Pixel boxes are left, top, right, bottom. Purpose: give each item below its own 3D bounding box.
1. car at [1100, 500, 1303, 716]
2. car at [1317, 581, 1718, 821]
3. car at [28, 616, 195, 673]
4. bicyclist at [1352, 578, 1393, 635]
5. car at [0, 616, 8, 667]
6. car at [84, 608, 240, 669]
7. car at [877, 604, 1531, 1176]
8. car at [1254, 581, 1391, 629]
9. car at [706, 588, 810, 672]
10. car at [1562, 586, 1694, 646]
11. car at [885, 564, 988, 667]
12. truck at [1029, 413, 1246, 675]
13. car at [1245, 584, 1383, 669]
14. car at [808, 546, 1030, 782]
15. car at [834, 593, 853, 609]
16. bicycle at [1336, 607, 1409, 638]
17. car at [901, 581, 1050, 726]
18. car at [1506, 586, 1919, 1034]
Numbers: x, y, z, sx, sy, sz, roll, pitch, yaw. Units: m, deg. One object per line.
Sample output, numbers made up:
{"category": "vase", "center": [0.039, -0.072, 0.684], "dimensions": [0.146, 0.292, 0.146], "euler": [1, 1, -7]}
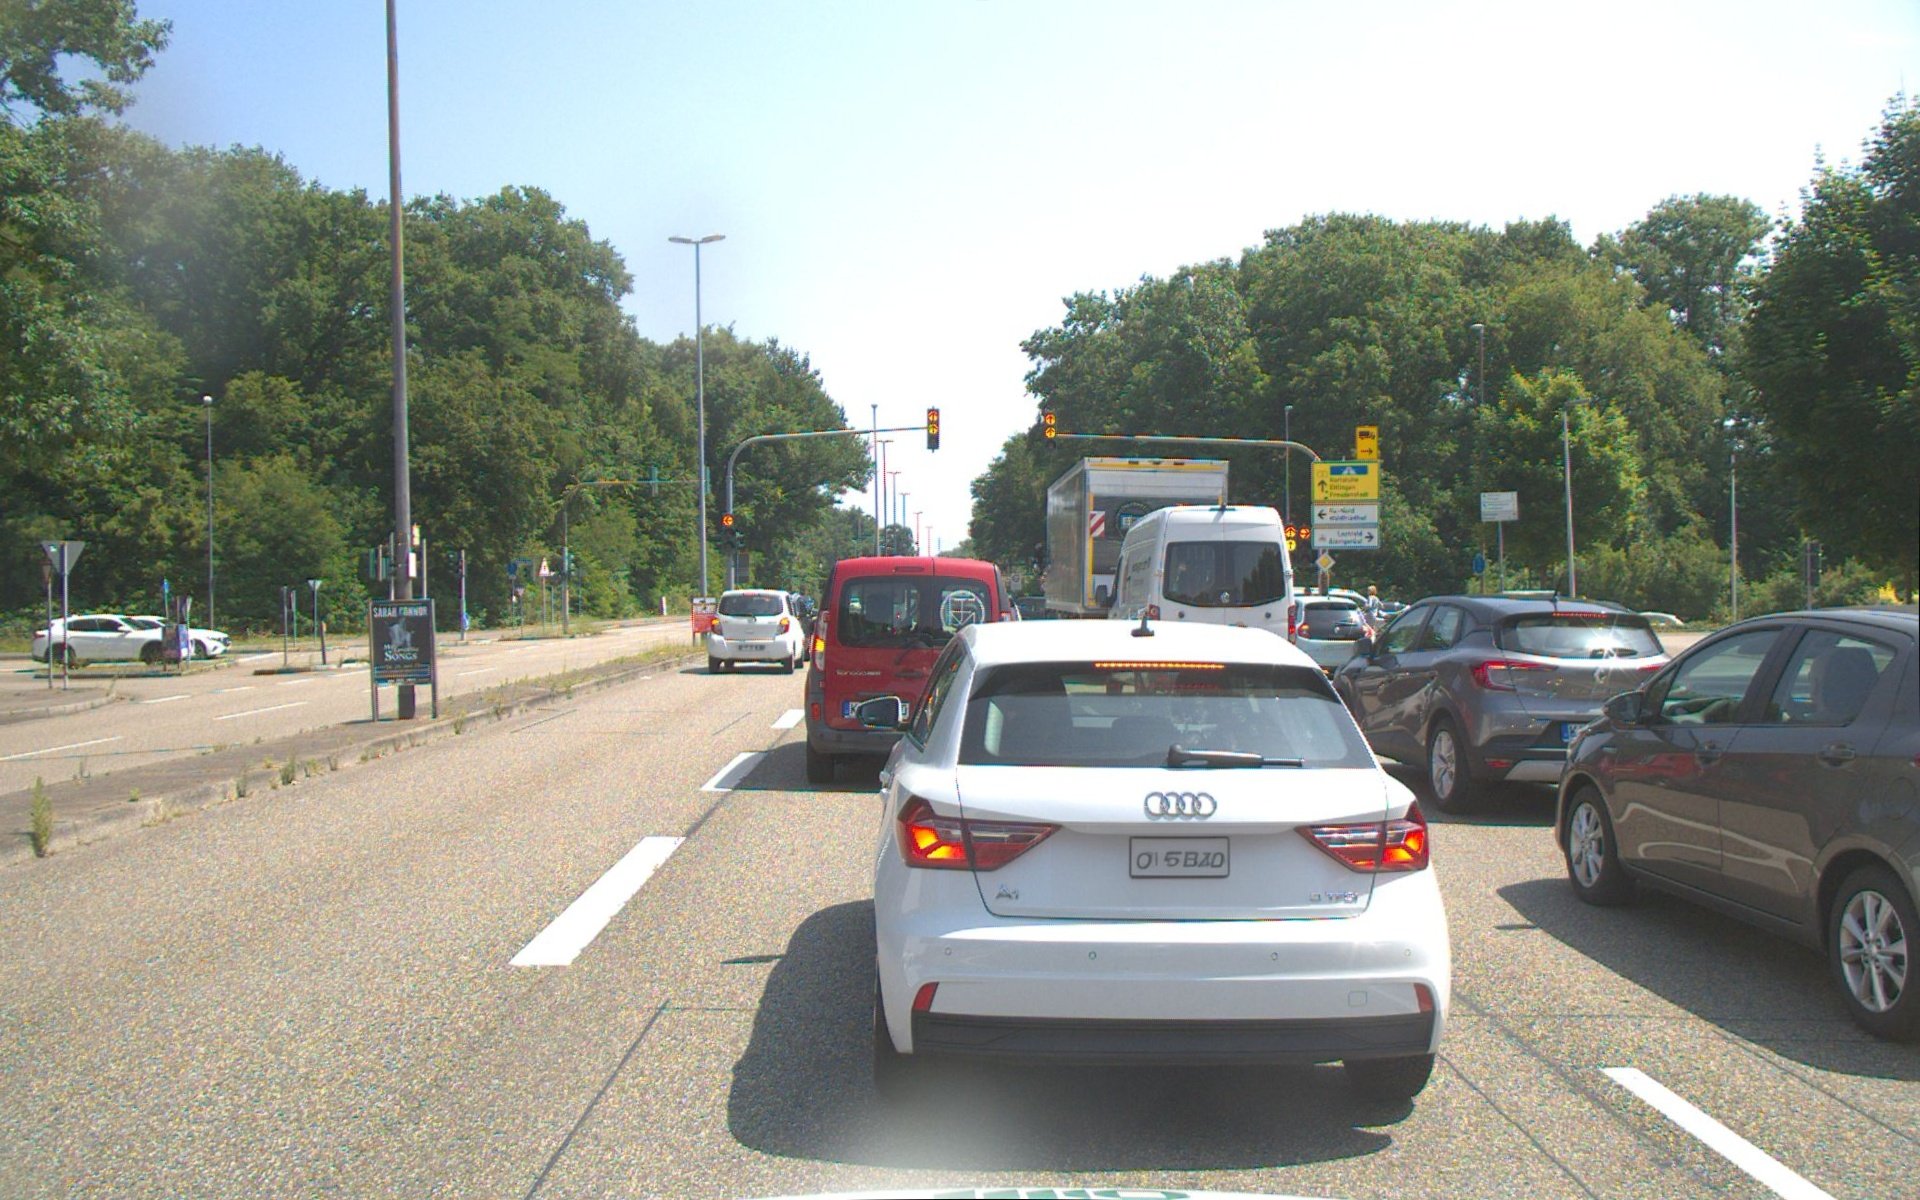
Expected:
{"category": "car", "center": [3.228, 0.094, 23.122], "dimensions": [1.990, 2.690, 4.843], "euler": [0, 0, -2]}
{"category": "car", "center": [4.219, 0.673, 13.229], "dimensions": [1.677, 1.621, 4.090], "euler": [0, 0, -3]}
{"category": "car", "center": [-26.744, 1.406, 52.264], "dimensions": [4.290, 1.711, 1.807], "euler": [1, -1, -9]}
{"category": "bicyclist", "center": [10.705, 0.168, 42.906], "dimensions": [0.815, 1.464, 0.595], "euler": [-1, 0, 45]}
{"category": "car", "center": [-34.469, 1.354, 55.147], "dimensions": [4.294, 1.711, 1.805], "euler": [1, -1, -13]}
{"category": "car", "center": [-27.005, 1.291, 56.079], "dimensions": [4.291, 1.710, 1.807], "euler": [-4, 0, -9]}
{"category": "car", "center": [0.541, 0.739, 6.258], "dimensions": [1.677, 1.410, 4.090], "euler": [0, 0, -3]}
{"category": "car", "center": [12.618, 0.177, 57.759], "dimensions": [4.380, 1.557, 1.798], "euler": [-1, 0, 0]}
{"category": "car", "center": [-3.847, 0.539, 32.048], "dimensions": [1.677, 1.519, 4.090], "euler": [0, 0, -3]}
{"category": "car", "center": [24.015, 0.550, 59.550], "dimensions": [3.906, 2.049, 2.000], "euler": [-1, 0, -1]}
{"category": "car", "center": [-0.470, 0.246, 28.911], "dimensions": [1.677, 1.660, 4.090], "euler": [0, 0, -3]}
{"category": "truck", "center": [3.319, -0.996, 34.436], "dimensions": [3.026, 4.511, 11.577], "euler": [1, 0, -1]}
{"category": "car", "center": [6.927, 0.482, 32.747], "dimensions": [1.677, 1.573, 4.090], "euler": [0, 0, -3]}
{"category": "car", "center": [-0.396, 0.476, 14.578], "dimensions": [1.677, 1.779, 4.090], "euler": [0, 0, -3]}
{"category": "car", "center": [-13.195, 0.115, 187.343], "dimensions": [1.953, 1.803, 4.203], "euler": [-1, 0, -2]}
{"category": "bicycle", "center": [10.700, 0.587, 42.921], "dimensions": [1.796, 0.779, 0.596], "euler": [-1, 0, 45]}
{"category": "car", "center": [0.108, 0.610, 21.101], "dimensions": [1.677, 1.660, 4.090], "euler": [0, 0, -3]}
{"category": "car", "center": [4.015, 0.739, 7.264], "dimensions": [1.678, 1.504, 4.090], "euler": [3, 0, -3]}
